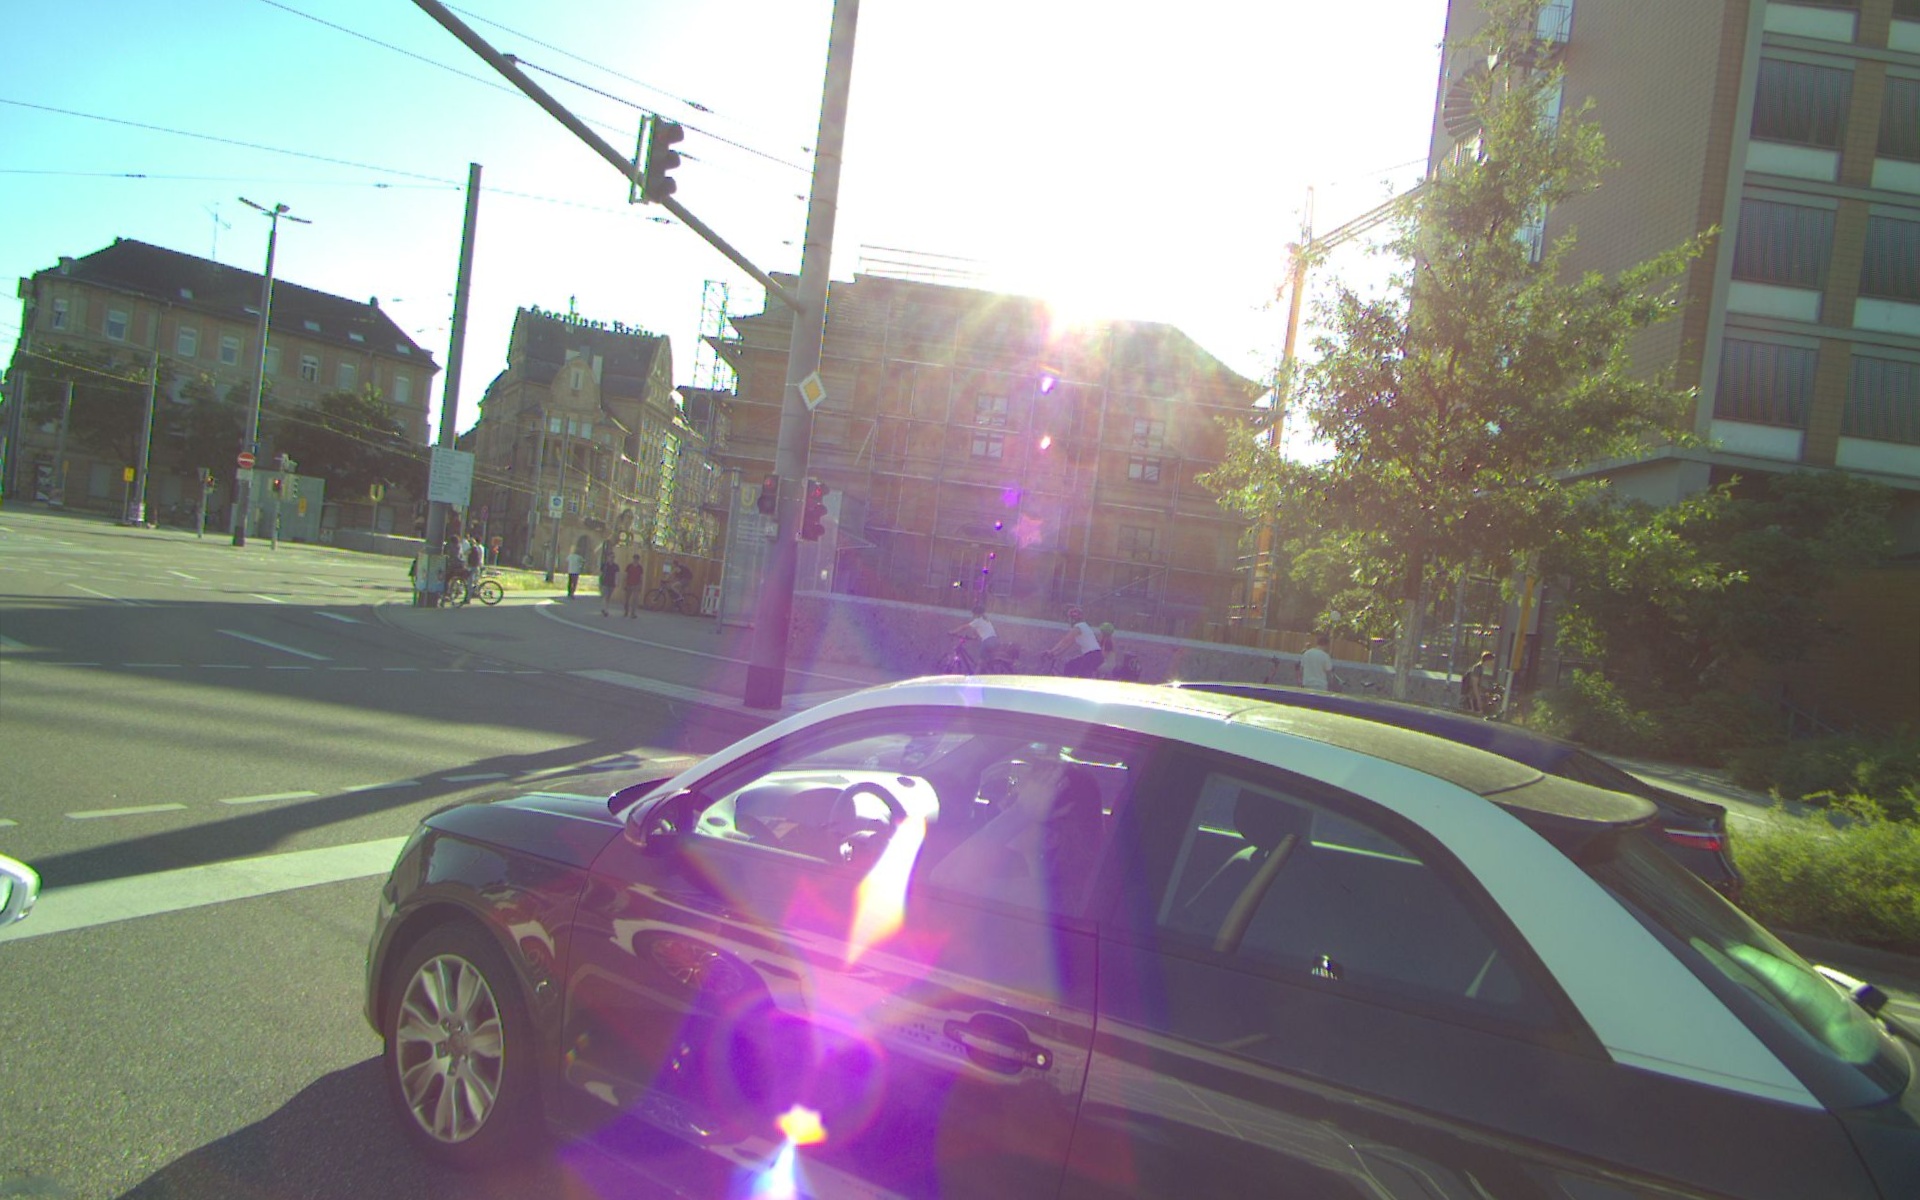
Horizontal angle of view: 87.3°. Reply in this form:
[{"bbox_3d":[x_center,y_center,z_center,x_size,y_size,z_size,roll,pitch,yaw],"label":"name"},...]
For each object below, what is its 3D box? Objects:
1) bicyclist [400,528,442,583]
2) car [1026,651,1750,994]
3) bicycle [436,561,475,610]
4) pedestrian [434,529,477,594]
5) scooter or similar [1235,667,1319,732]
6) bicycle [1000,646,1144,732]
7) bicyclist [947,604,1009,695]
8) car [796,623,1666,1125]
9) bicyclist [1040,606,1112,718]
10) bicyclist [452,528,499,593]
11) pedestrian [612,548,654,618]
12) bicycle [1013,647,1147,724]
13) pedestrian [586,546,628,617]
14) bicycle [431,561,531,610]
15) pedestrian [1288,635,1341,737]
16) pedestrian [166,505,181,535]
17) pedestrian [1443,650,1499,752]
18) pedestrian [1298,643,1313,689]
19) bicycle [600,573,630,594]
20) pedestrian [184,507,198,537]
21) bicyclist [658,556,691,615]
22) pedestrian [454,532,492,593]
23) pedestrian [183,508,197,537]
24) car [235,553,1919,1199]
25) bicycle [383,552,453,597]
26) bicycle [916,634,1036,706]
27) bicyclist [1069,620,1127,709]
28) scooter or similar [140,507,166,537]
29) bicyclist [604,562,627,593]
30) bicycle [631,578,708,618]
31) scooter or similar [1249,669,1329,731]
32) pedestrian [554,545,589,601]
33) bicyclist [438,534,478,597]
[{"bbox_3d":[-16.770,-1.380,31.308,0.930,1.575,0.516,7,-1,24],"label":"bicyclist"},{"bbox_3d":[2.927,1.400,7.581,4.436,1.420,1.727,6,-2,31],"label":"car"},{"bbox_3d":[-12.532,-0.384,24.975,0.693,1.062,2.303,7,0,-29],"label":"bicycle"},{"bbox_3d":[-16.756,-1.275,33.418,0.748,2.037,0.733,7,-1,25],"label":"pedestrian"},{"bbox_3d":[5.867,1.838,18.657,1.348,1.007,0.342,7,-1,25],"label":"scooter or similar"},{"bbox_3d":[1.703,1.328,15.351,1.998,0.976,0.659,7,3,24],"label":"bicycle"},{"bbox_3d":[0.307,0.852,17.323,0.663,1.471,0.616,6,-1,37],"label":"bicyclist"},{"bbox_3d":[1.231,1.096,5.381,3.934,1.420,1.627,6,-2,32],"label":"car"},{"bbox_3d":[1.766,0.931,15.297,0.780,1.573,0.667,7,2,22],"label":"bicyclist"},{"bbox_3d":[-12.862,-1.044,26.714,0.936,1.575,0.705,8,-1,-28],"label":"bicyclist"},{"bbox_3d":[-9.128,-0.465,28.107,0.672,1.828,0.672,7,-1,11],"label":"pedestrian"},{"bbox_3d":[1.921,1.373,16.258,1.997,0.976,0.660,6,2,-1],"label":"bicycle"},{"bbox_3d":[-9.593,-0.493,27.356,0.672,1.830,0.672,7,2,11],"label":"pedestrian"},{"bbox_3d":[-12.745,-0.372,26.812,2.293,1.062,0.696,6,-1,-28],"label":"bicycle"},{"bbox_3d":[6.118,1.455,17.336,0.592,1.662,0.677,7,3,29],"label":"pedestrian"},{"bbox_3d":[-56.333,-5.709,72.057,0.600,2.039,0.638,6,1,-43],"label":"pedestrian"},{"bbox_3d":[10.152,2.001,19.973,0.461,1.908,0.687,8,-1,-41],"label":"pedestrian"},{"bbox_3d":[13.626,2.600,39.691,0.369,1.752,0.444,7,-1,17],"label":"pedestrian"},{"bbox_3d":[-19.718,-0.930,57.573,0.892,0.925,2.625,7,-2,-5],"label":"bicycle"},{"bbox_3d":[-55.261,-5.595,72.271,0.600,2.039,0.638,6,1,-43],"label":"pedestrian"},{"bbox_3d":[-9.306,-0.467,32.763,0.785,1.800,0.520,8,-1,-23],"label":"bicyclist"},{"bbox_3d":[-16.513,-1.274,34.125,0.678,1.945,0.649,7,-1,25],"label":"pedestrian"},{"bbox_3d":[-56.007,-5.658,73.180,0.600,2.039,0.638,6,1,-43],"label":"pedestrian"},{"bbox_3d":[-0.036,0.823,2.715,3.934,1.420,1.627,6,-2,32],"label":"car"},{"bbox_3d":[-16.880,-0.798,31.316,2.278,1.061,0.536,8,-1,24],"label":"bicycle"},{"bbox_3d":[0.255,1.180,17.348,2.004,0.976,0.657,6,2,36],"label":"bicycle"},{"bbox_3d":[2.226,1.034,16.280,0.661,1.330,0.617,7,-1,-3],"label":"bicyclist"},{"bbox_3d":[-42.080,-4.070,52.427,0.784,1.392,1.885,8,-2,-44],"label":"scooter or similar"},{"bbox_3d":[-19.669,-1.279,57.480,0.835,1.565,1.042,7,-1,-4],"label":"bicyclist"},{"bbox_3d":[-9.449,-0.062,32.701,2.289,1.063,0.532,5,2,-25],"label":"bicycle"},{"bbox_3d":[6.344,1.916,19.439,1.346,1.007,0.343,7,-1,13],"label":"scooter or similar"},{"bbox_3d":[-13.609,-0.954,35.256,0.678,1.835,0.649,7,-1,25],"label":"pedestrian"},{"bbox_3d":[-12.515,-0.852,25.067,0.702,1.456,0.940,8,-1,-29],"label":"bicyclist"}]
